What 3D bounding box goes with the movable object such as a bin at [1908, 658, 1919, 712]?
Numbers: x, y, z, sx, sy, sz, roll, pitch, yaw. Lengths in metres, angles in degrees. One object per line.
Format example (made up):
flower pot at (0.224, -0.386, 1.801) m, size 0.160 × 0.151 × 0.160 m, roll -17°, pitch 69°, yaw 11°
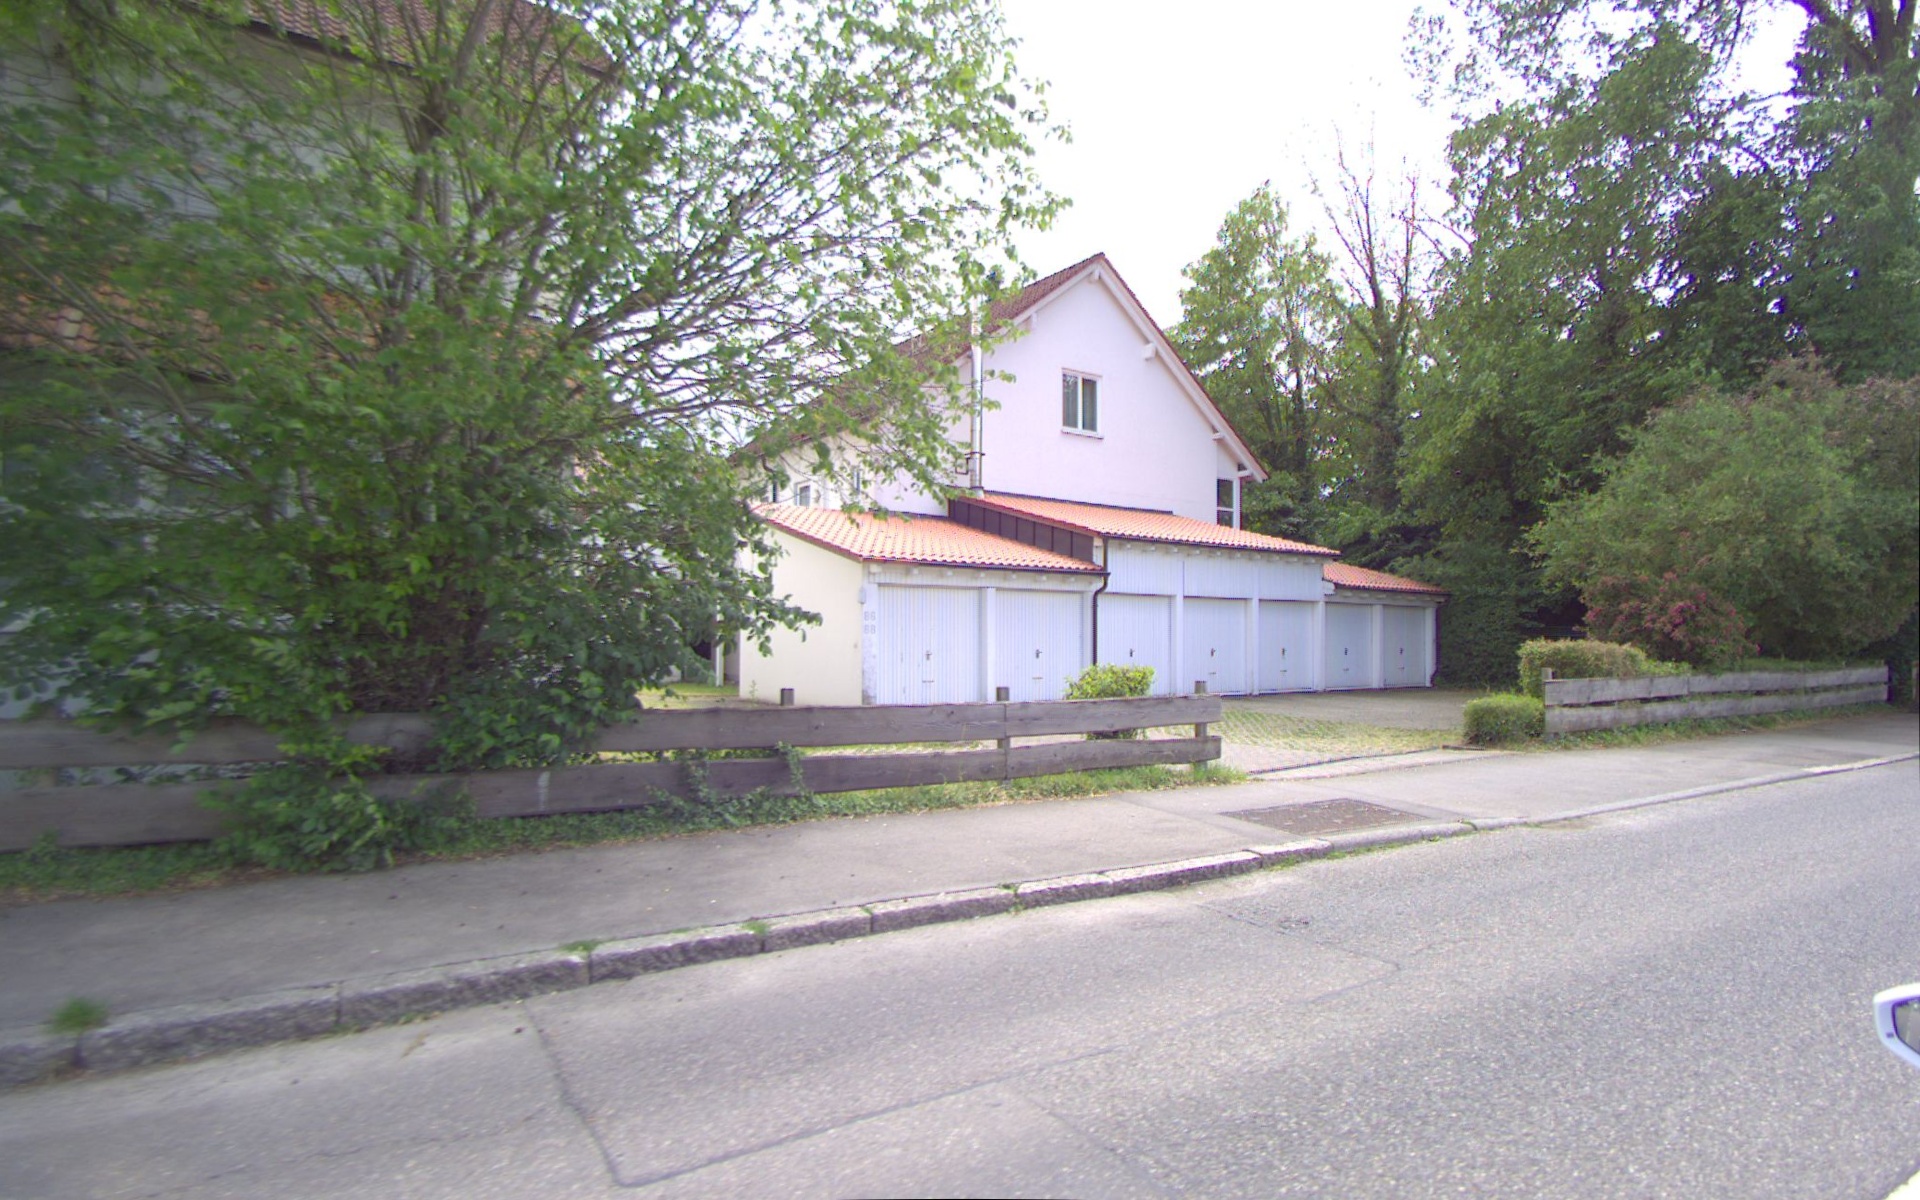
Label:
movable object such as a bin at (17.449, 1.530, 18.015) m, size 0.562 × 0.957 × 0.511 m, roll 1°, pitch 0°, yaw -30°
